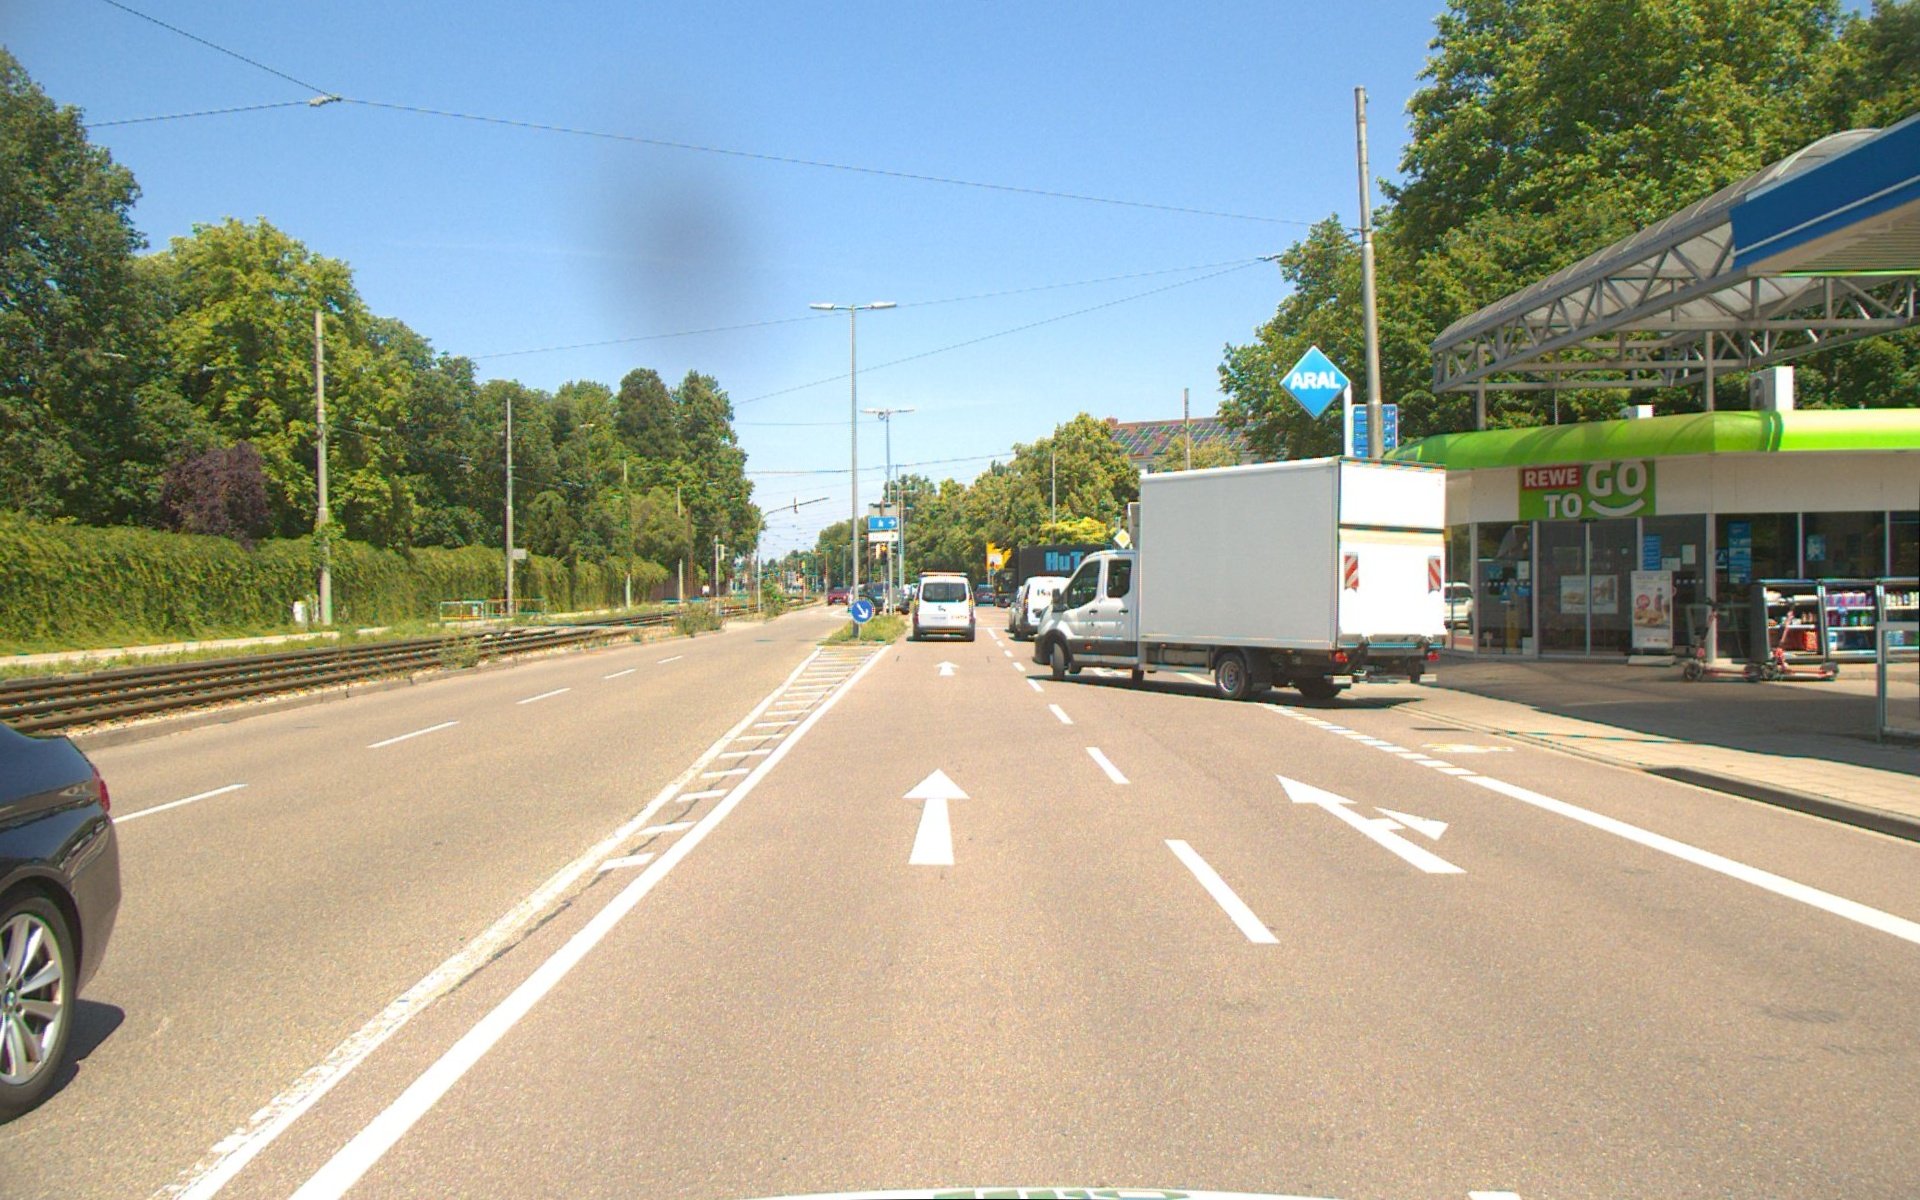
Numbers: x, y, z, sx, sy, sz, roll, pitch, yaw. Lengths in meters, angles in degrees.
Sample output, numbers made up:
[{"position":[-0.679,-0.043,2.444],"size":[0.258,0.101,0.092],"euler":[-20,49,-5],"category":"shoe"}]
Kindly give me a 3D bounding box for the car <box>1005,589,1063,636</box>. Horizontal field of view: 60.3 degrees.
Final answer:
[{"position":[2.471,0.402,55.792],"size":[1.720,1.512,3.999],"euler":[-1,0,-1],"category":"car"}]

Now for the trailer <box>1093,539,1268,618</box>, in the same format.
[{"position":[11.934,-1.112,89.923],"size":[8.783,4.121,3.531],"euler":[0,0,31],"category":"trailer"}]

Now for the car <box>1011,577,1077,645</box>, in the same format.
[{"position":[2.395,0.287,47.812],"size":[1.675,1.862,4.013],"euler":[0,0,0],"category":"car"}]

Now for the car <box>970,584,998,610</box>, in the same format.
[{"position":[1.806,-0.259,125.518],"size":[1.953,1.892,3.999],"euler":[-1,0,-1],"category":"car"}]

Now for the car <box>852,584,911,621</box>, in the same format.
[{"position":[-4.181,0.105,87.261],"size":[1.963,1.861,4.516],"euler":[-1,0,-18],"category":"car"}]

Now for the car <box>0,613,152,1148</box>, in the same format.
[{"position":[-3.416,0.786,3.103],"size":[1.757,1.424,4.446],"euler":[-1,1,-3],"category":"car"}]

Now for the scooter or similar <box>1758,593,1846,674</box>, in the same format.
[{"position":[12.626,0.492,24.813],"size":[1.112,1.197,0.384],"euler":[0,0,0],"category":"scooter or similar"}]

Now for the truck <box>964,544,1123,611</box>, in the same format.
[{"position":[4.727,-1.254,94.882],"size":[8.638,3.696,3.572],"euler":[0,0,38],"category":"truck"}]

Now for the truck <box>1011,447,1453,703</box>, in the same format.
[{"position":[3.956,-0.356,26.186],"size":[2.397,3.451,7.746],"euler":[-1,0,-32],"category":"truck"}]

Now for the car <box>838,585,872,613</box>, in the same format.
[{"position":[-6.428,-0.053,101.181],"size":[1.955,1.645,4.451],"euler":[0,0,-5],"category":"car"}]

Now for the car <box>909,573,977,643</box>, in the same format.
[{"position":[-0.503,0.197,46.820],"size":[1.829,1.868,3.848],"euler":[1,0,-1],"category":"car"}]

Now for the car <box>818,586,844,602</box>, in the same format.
[{"position":[-11.487,-0.533,147.655],"size":[1.943,1.382,4.538],"euler":[0,0,0],"category":"car"}]
